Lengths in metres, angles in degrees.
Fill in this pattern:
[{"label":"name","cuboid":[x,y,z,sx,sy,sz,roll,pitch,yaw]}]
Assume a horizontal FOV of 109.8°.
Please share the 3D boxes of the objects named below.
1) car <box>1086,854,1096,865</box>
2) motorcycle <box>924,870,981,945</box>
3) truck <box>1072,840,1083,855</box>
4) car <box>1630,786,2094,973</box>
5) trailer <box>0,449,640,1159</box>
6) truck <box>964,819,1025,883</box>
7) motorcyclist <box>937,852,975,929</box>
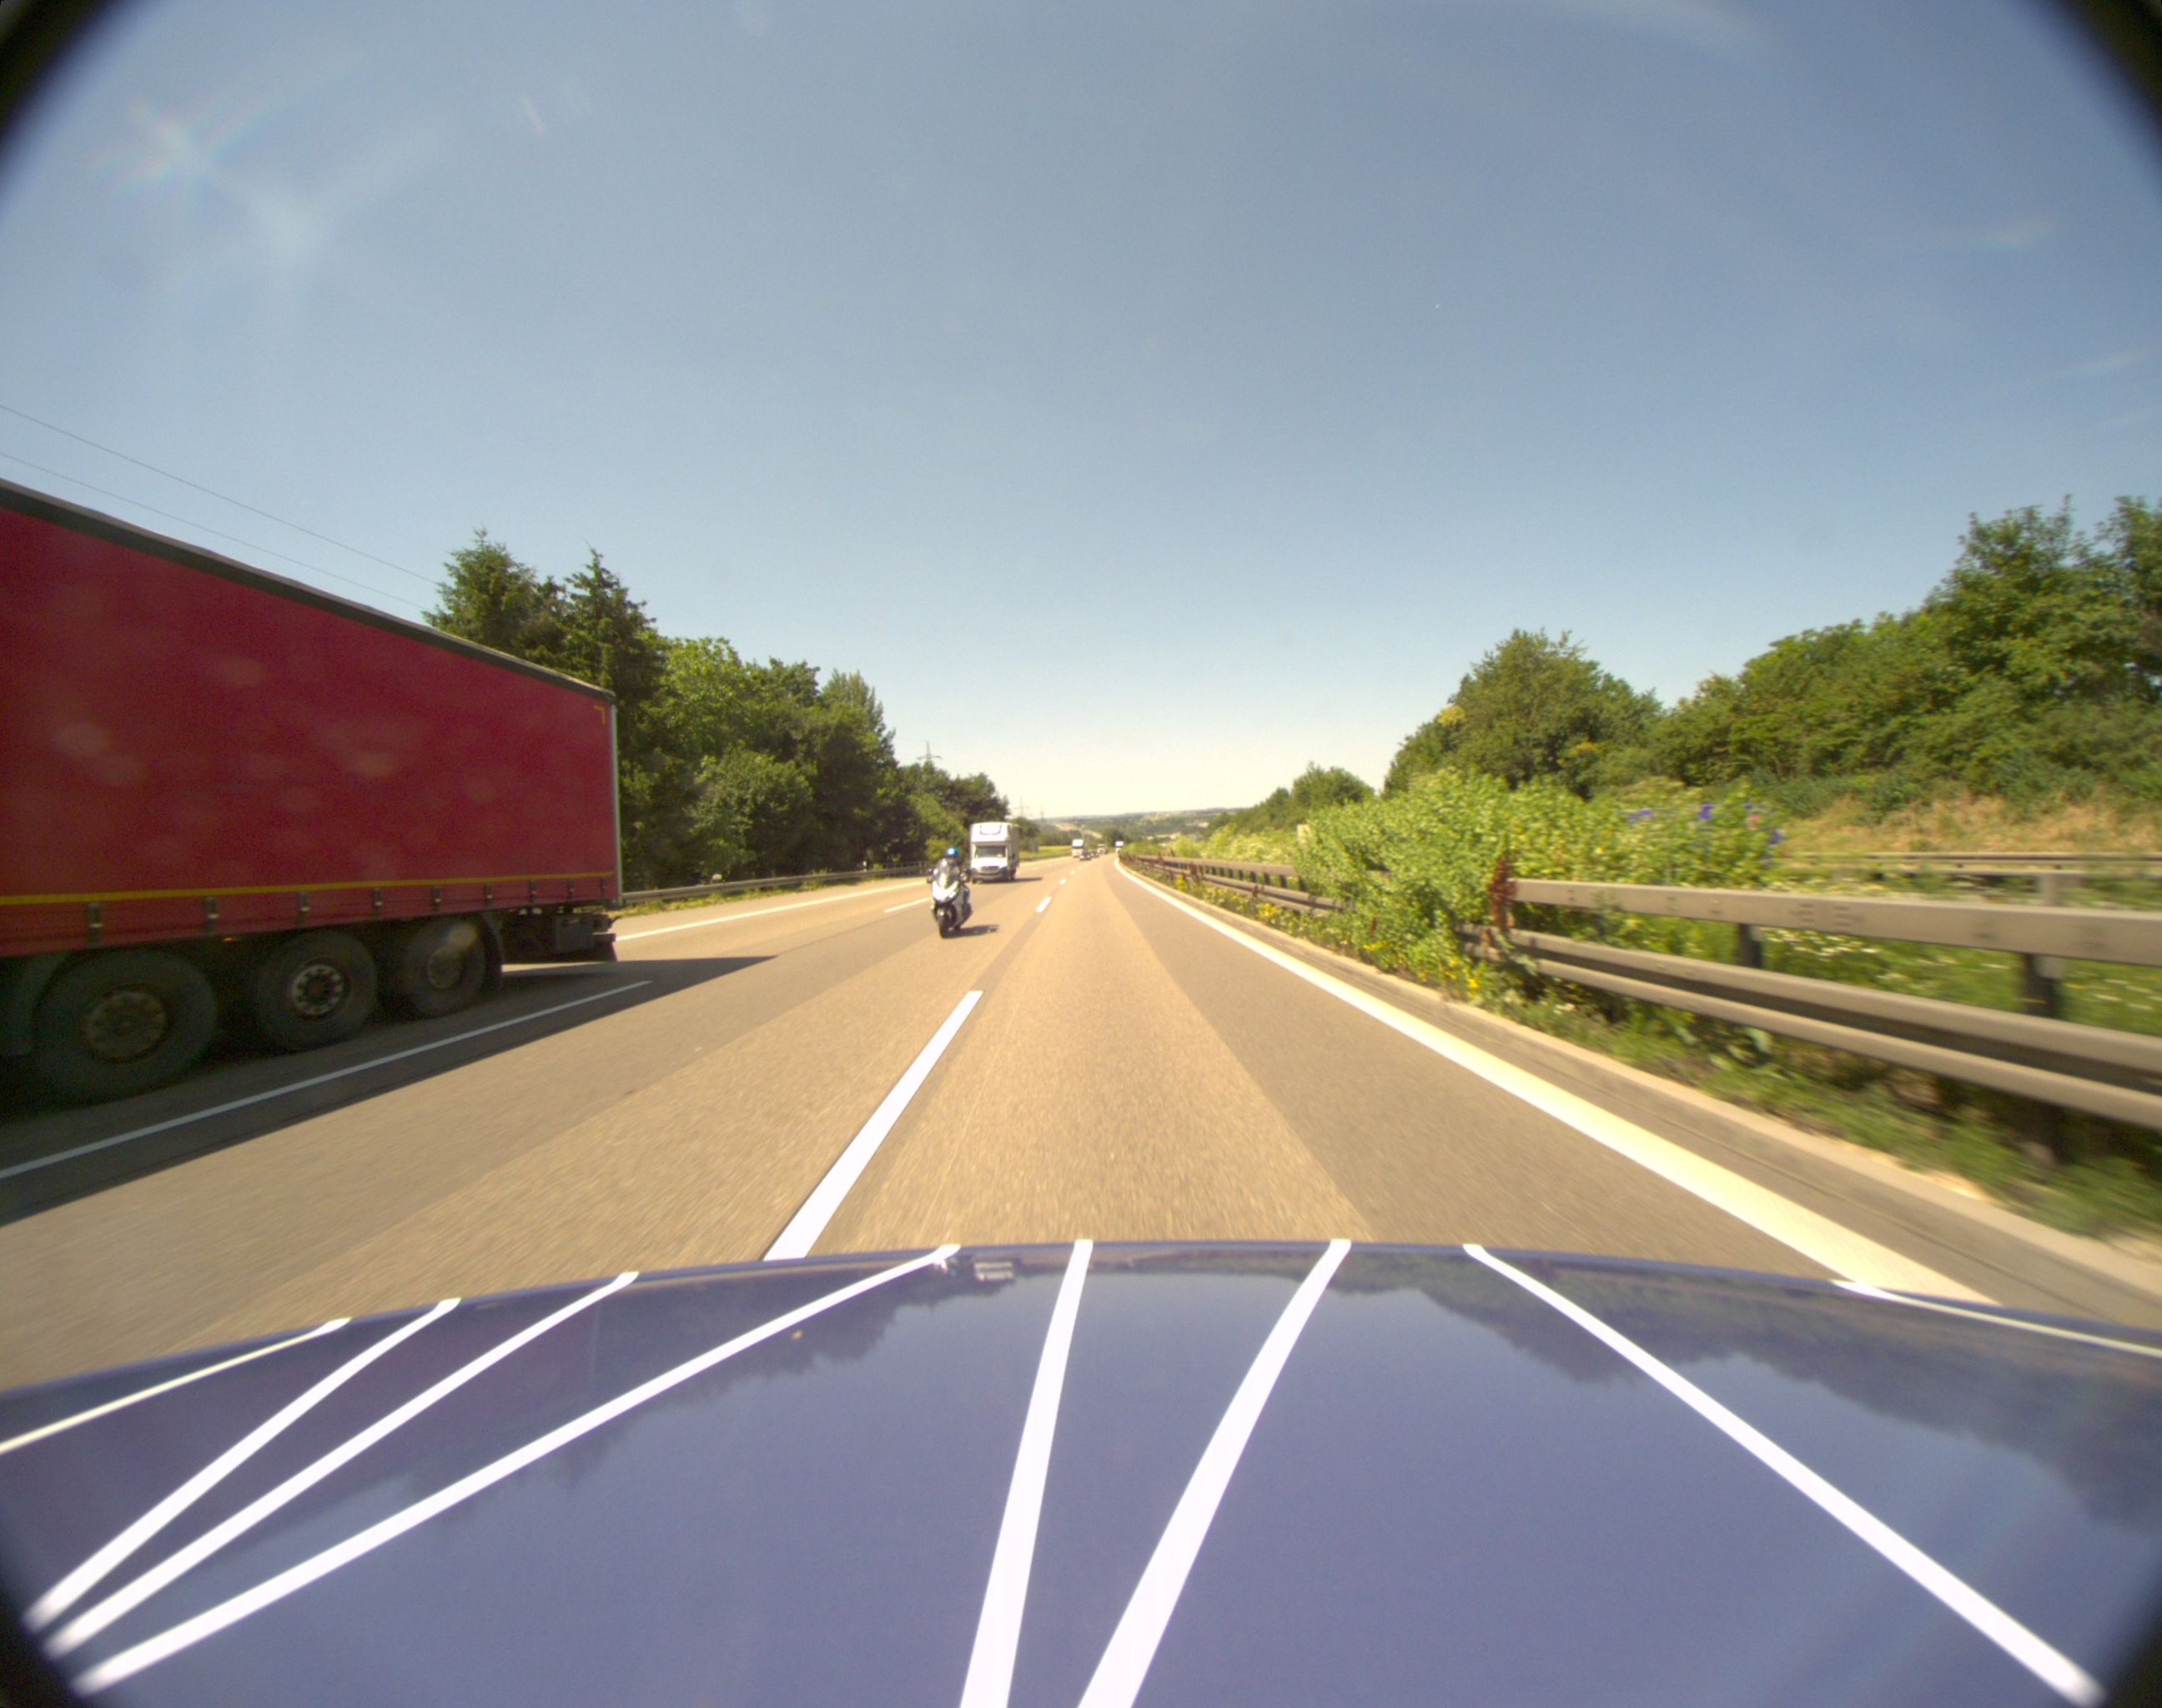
[{"label":"car","cuboid":[1.721,0.939,132.086,1.705,1.958,4.000,-2,1,1]},{"label":"motorcycle","cuboid":[-2.519,1.010,15.164,0.631,1.279,2.312,-3,1,1]},{"label":"truck","cuboid":[-0.794,-1.590,184.485,2.591,3.444,5.962,-2,1,0]},{"label":"car","cuboid":[9.646,0.254,9.977,1.998,1.880,4.000,-3,1,1]},{"label":"trailer","cuboid":[-7.742,-0.273,4.427,2.607,4.239,13.031,-2,1,0]},{"label":"truck","cuboid":[-4.810,-0.187,43.565,2.513,3.268,8.105,-1,1,0]},{"label":"motorcyclist","cuboid":[-2.514,0.732,15.339,0.613,1.499,0.513,-2,1,2]}]
